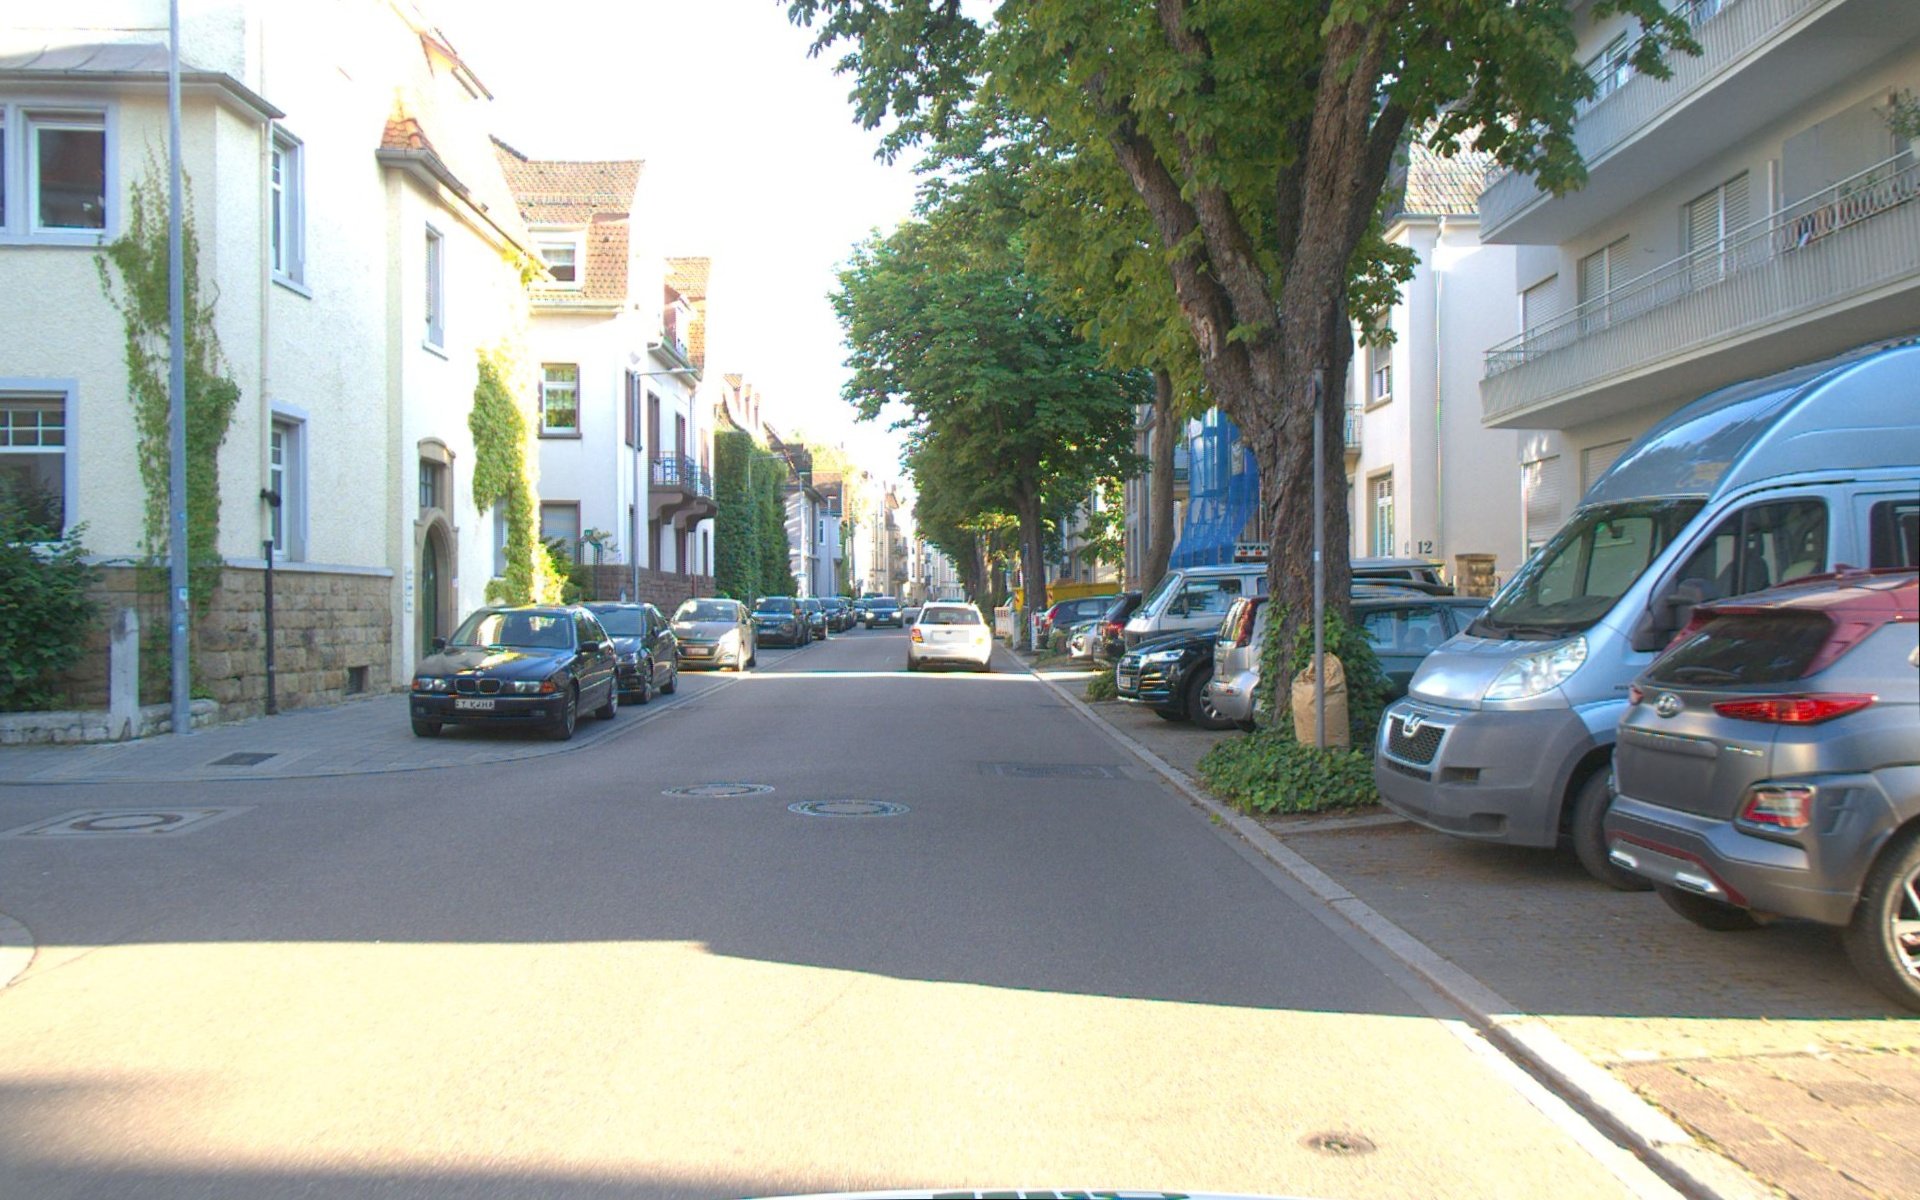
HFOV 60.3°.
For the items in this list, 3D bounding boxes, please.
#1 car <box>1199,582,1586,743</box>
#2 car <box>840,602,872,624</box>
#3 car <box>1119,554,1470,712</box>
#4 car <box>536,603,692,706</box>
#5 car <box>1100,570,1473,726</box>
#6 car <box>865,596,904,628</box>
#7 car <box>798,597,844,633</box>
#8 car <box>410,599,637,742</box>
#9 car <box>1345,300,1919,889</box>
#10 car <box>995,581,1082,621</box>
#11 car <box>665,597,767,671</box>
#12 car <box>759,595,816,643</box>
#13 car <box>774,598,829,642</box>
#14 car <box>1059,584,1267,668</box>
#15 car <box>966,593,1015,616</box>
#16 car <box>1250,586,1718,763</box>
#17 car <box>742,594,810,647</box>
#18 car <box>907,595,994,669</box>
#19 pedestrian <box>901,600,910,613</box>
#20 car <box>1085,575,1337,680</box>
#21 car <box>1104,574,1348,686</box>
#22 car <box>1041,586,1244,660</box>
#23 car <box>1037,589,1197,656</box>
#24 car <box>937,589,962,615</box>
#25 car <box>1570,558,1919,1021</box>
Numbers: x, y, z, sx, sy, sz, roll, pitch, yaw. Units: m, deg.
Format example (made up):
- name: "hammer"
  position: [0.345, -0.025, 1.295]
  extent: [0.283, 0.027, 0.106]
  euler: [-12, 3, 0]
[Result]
- name: "car"
  position: [4.502, 0.632, 17.545]
  extent: [3.646, 1.581, 1.638]
  euler: [-1, -1, -3]
- name: "car"
  position: [-6.345, 0.796, 101.301]
  extent: [1.619, 1.347, 4.046]
  euler: [1, 0, 1]
- name: "car"
  position: [4.485, 0.431, 22.592]
  extent: [4.380, 2.049, 1.895]
  euler: [0, 0, -3]
- name: "car"
  position: [-5.269, 0.778, 25.661]
  extent: [1.620, 1.440, 4.166]
  euler: [1, 0, -2]
- name: "car"
  position: [3.906, 0.555, 20.123]
  extent: [4.097, 1.754, 1.762]
  euler: [-1, -1, -8]
- name: "car"
  position: [-3.579, 0.545, 78.928]
  extent: [1.736, 1.474, 3.999]
  euler: [-1, 0, -1]
- name: "car"
  position: [-5.943, 0.628, 71.003]
  extent: [1.616, 1.445, 4.098]
  euler: [1, 0, -1]
- name: "car"
  position: [-5.108, 0.749, 19.954]
  extent: [1.675, 1.496, 4.631]
  euler: [1, 0, -3]
- name: "car"
  position: [4.994, -0.068, 9.529]
  extent: [4.993, 2.953, 2.075]
  euler: [-1, 0, -2]
- name: "car"
  position: [3.913, 0.039, 82.935]
  extent: [4.227, 1.838, 1.999]
  euler: [-2, 0, -1]
- name: "car"
  position: [-5.170, 0.676, 35.483]
  extent: [1.620, 1.472, 4.004]
  euler: [1, 0, -1]
- name: "car"
  position: [-5.594, 0.585, 53.877]
  extent: [1.620, 1.472, 3.842]
  euler: [1, 0, -3]
- name: "car"
  position: [-5.676, 0.680, 59.666]
  extent: [1.757, 1.487, 4.774]
  euler: [1, 0, -3]
- name: "car"
  position: [4.196, 0.534, 34.606]
  extent: [4.071, 1.566, 1.850]
  euler: [-2, 0, -1]
- name: "car"
  position: [2.625, 0.383, 144.140]
  extent: [4.135, 1.929, 1.904]
  euler: [-2, 0, -3]
- name: "car"
  position: [4.632, 0.652, 14.988]
  extent: [3.646, 1.456, 1.758]
  euler: [-1, -2, -3]
- name: "car"
  position: [-5.481, 0.580, 49.533]
  extent: [1.620, 1.512, 3.764]
  euler: [1, 0, -1]
- name: "car"
  position: [-0.198, 0.670, 35.377]
  extent: [1.747, 1.462, 3.850]
  euler: [1, -1, 0]
- name: "pedestrian"
  position: [-7.620, 0.870, 230.972]
  extent: [1.195, 1.752, 1.503]
  euler: [1, 0, 2]
- name: "car"
  position: [4.496, 0.472, 30.021]
  extent: [4.244, 1.712, 1.705]
  euler: [-2, 0, -2]
- name: "car"
  position: [4.432, 0.480, 28.000]
  extent: [3.867, 1.712, 1.706]
  euler: [-2, 0, 2]
- name: "car"
  position: [4.343, 0.543, 39.769]
  extent: [4.622, 1.562, 1.850]
  euler: [-2, 0, -1]
- name: "car"
  position: [3.965, 0.567, 42.310]
  extent: [3.905, 1.518, 1.851]
  euler: [-2, 0, 0]
- name: "car"
  position: [-0.669, 0.130, 105.128]
  extent: [1.590, 1.597, 3.680]
  euler: [0, 0, 0]
- name: "car"
  position: [4.881, 0.591, 6.740]
  extent: [4.105, 1.596, 1.758]
  euler: [-2, 0, -3]
